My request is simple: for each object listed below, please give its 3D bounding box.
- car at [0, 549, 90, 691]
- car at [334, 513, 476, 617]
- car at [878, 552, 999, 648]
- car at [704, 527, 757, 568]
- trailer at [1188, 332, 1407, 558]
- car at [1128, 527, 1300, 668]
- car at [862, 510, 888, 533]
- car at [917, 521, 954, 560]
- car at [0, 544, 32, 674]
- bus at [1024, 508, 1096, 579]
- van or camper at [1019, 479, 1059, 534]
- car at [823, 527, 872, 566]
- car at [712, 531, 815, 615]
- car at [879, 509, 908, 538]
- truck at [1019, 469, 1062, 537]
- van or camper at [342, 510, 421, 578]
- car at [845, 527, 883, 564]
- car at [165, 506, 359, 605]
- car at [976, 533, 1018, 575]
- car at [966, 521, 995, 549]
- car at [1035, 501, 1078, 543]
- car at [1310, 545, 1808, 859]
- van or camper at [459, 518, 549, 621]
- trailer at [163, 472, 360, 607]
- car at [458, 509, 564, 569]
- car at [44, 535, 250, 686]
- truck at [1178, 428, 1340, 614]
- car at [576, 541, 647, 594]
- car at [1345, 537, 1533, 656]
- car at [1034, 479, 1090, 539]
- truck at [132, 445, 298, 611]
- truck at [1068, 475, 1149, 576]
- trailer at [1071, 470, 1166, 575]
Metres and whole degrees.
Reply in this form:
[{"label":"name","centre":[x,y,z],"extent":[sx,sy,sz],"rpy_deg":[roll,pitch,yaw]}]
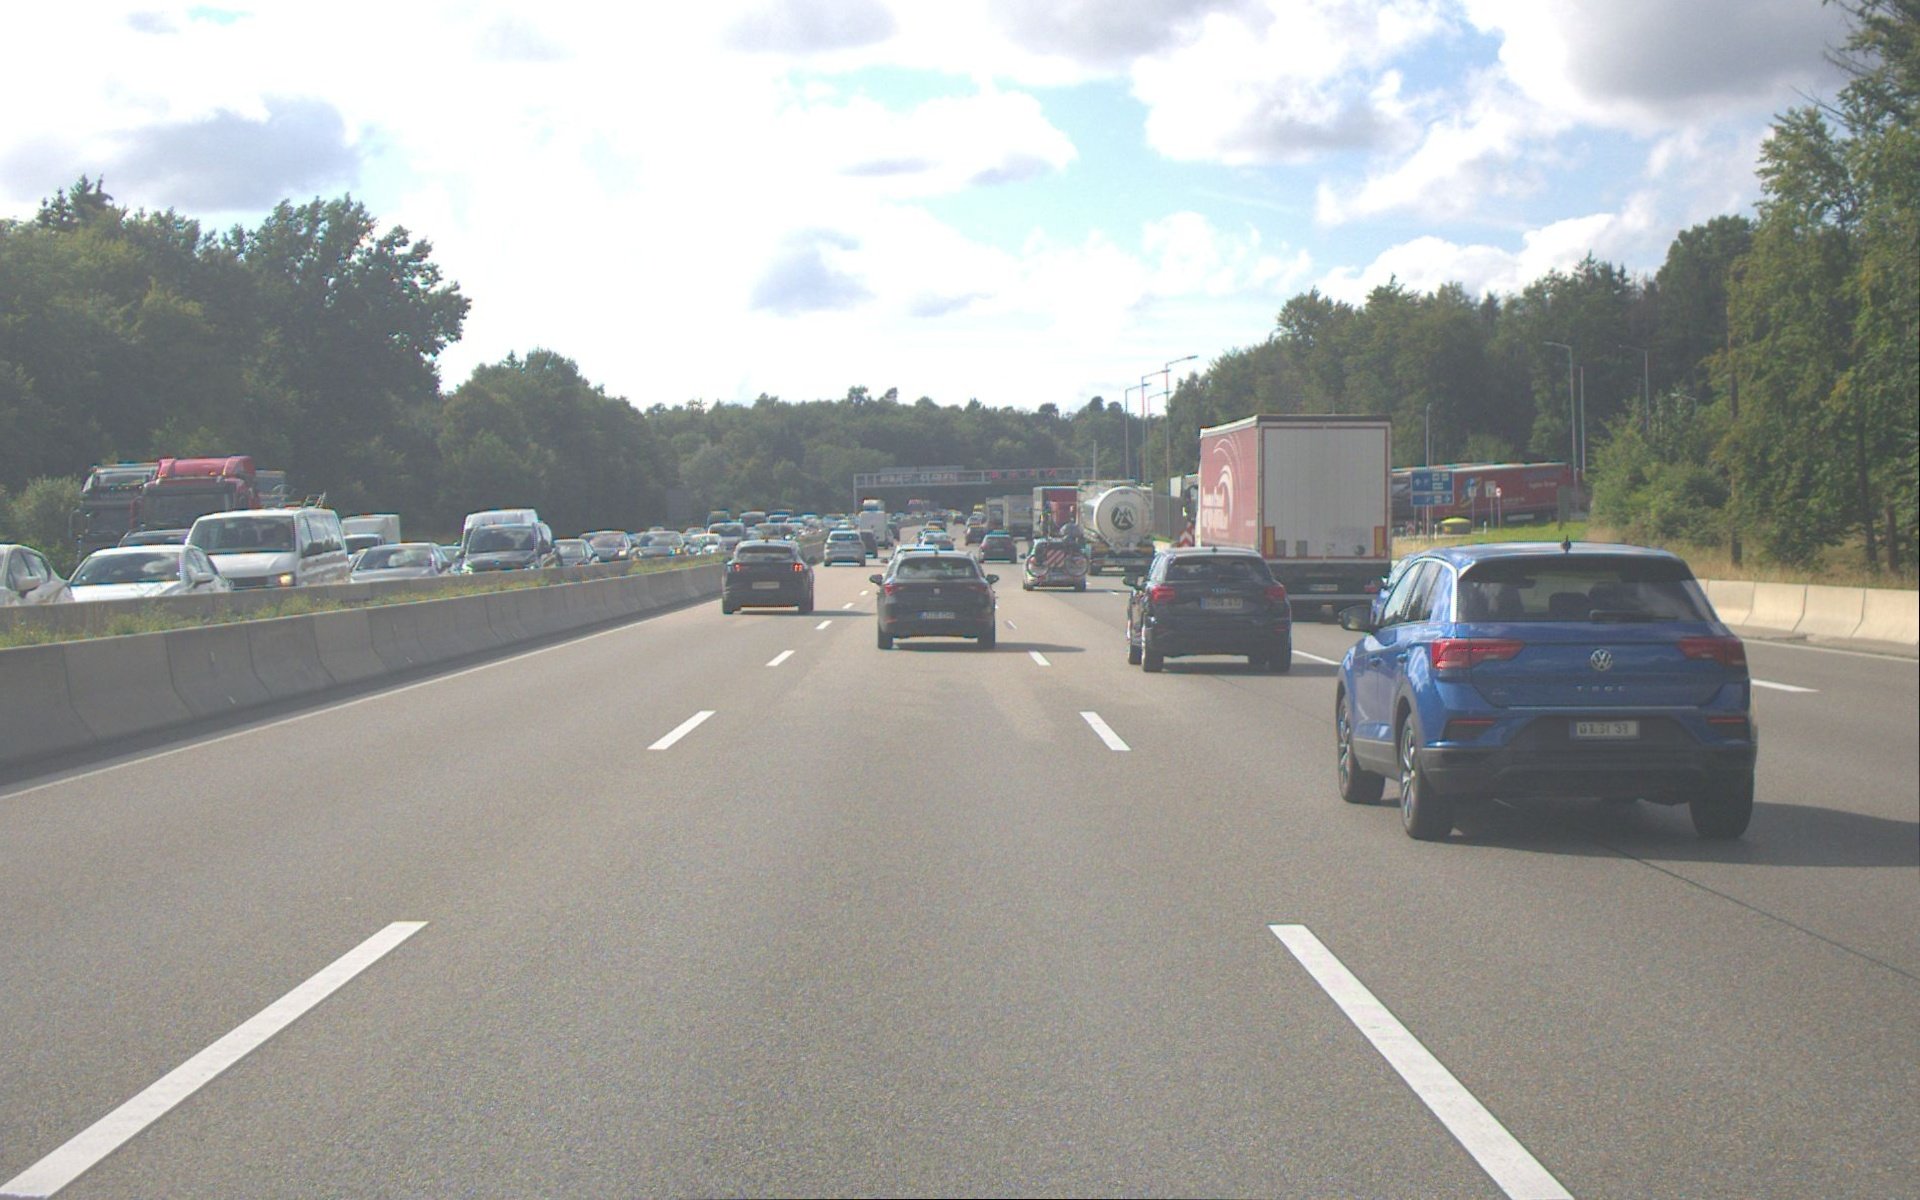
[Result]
[{"label":"car","centre":[-10.382,0.162,35.634],"extent":[1.757,1.372,4.000],"rpy_deg":[2,1,-1]},{"label":"car","centre":[-8.977,-0.590,55.865],"extent":[1.723,1.598,4.000],"rpy_deg":[1,1,-1]},{"label":"car","centre":[-0.310,-0.018,51.455],"extent":[1.734,1.360,4.000],"rpy_deg":[1,0,0]},{"label":"car","centre":[-10.136,-2.330,152.060],"extent":[1.993,1.729,5.091],"rpy_deg":[2,1,-1]},{"label":"trailer","centre":[6.811,-2.999,71.606],"extent":[3.038,4.021,13.890],"rpy_deg":[1,0,-1]},{"label":"car","centre":[3.085,-0.046,42.389],"extent":[1.799,1.639,4.000],"rpy_deg":[1,0,0]},{"label":"car","centre":[-5.753,-5.277,232.274],"extent":[1.623,1.465,3.815],"rpy_deg":[1,1,0]},{"label":"car","centre":[-1.349,-3.250,187.684],"extent":[1.993,2.007,4.000],"rpy_deg":[-1,0,-1]},{"label":"car","centre":[-14.216,0.112,47.525],"extent":[1.686,1.810,4.296],"rpy_deg":[1,0,-1]},{"label":"bus","centre":[2.965,-1.665,102.655],"extent":[1.993,2.007,4.000],"rpy_deg":[1,0,0]},{"label":"van or camper","centre":[4.753,-5.611,206.836],"extent":[2.351,3.133,5.710],"rpy_deg":[1,0,1]},{"label":"car","centre":[-5.251,-2.509,161.411],"extent":[2.154,1.770,4.000],"rpy_deg":[1,0,0]},{"label":"car","centre":[-4.227,-0.602,74.553],"extent":[1.993,1.770,4.000],"rpy_deg":[0,1,0]},{"label":"car","centre":[-4.744,-5.484,247.234],"extent":[1.993,2.007,4.000],"rpy_deg":[1,1,-1]},{"label":"truck","centre":[4.666,-5.601,200.659],"extent":[2.358,3.560,11.266],"rpy_deg":[1,0,1]},{"label":"van or camper","centre":[-26.529,-2.566,157.832],"extent":[2.572,3.067,7.197],"rpy_deg":[0,1,-1]},{"label":"car","centre":[-5.340,-3.052,192.008],"extent":[1.993,2.007,4.000],"rpy_deg":[2,1,-1]},{"label":"car","centre":[-10.237,-0.621,50.803],"extent":[1.849,1.350,5.489],"rpy_deg":[1,0,-1]},{"label":"car","centre":[1.820,-2.277,170.526],"extent":[1.993,2.007,4.000],"rpy_deg":[1,0,-1]},{"label":"car","centre":[1.497,-4.800,253.313],"extent":[1.993,2.007,4.000],"rpy_deg":[1,1,-1]},{"label":"car","centre":[4.865,-3.919,173.009],"extent":[1.993,2.007,4.000],"rpy_deg":[1,0,-1]},{"label":"car","centre":[3.187,0.543,19.245],"extent":[1.924,1.536,4.645],"rpy_deg":[0,-1,-1]},{"label":"van or camper","centre":[-14.608,-1.024,110.427],"extent":[2.138,3.161,6.245],"rpy_deg":[1,1,-1]},{"label":"trailer","centre":[-18.562,-1.676,92.388],"extent":[2.727,3.324,14.222],"rpy_deg":[1,1,-1]},{"label":"car","centre":[-10.589,-1.452,81.454],"extent":[1.814,1.344,6.233],"rpy_deg":[1,1,-1]},{"label":"car","centre":[-10.306,0.138,43.862],"extent":[1.686,1.810,4.296],"rpy_deg":[1,0,-1]},{"label":"truck","centre":[6.724,-1.712,78.150],"extent":[3.080,4.049,6.070],"rpy_deg":[1,0,-1]},{"label":"car","centre":[-10.785,-1.030,106.594],"extent":[1.836,1.585,4.289],"rpy_deg":[0,1,-1]},{"label":"car","centre":[6.406,-0.061,46.376],"extent":[1.715,1.506,4.302],"rpy_deg":[-1,0,-3]},{"label":"car","centre":[5.398,-4.814,182.933],"extent":[2.866,2.981,5.149],"rpy_deg":[1,0,1]},{"label":"truck","centre":[-18.394,-1.782,85.301],"extent":[2.775,3.925,6.854],"rpy_deg":[1,1,-1]},{"label":"truck","centre":[6.214,-3.110,144.774],"extent":[3.045,4.146,7.127],"rpy_deg":[0,0,0]},{"label":"trailer","centre":[6.279,-3.004,137.949],"extent":[3.036,4.002,12.246],"rpy_deg":[0,0,-1]}]
